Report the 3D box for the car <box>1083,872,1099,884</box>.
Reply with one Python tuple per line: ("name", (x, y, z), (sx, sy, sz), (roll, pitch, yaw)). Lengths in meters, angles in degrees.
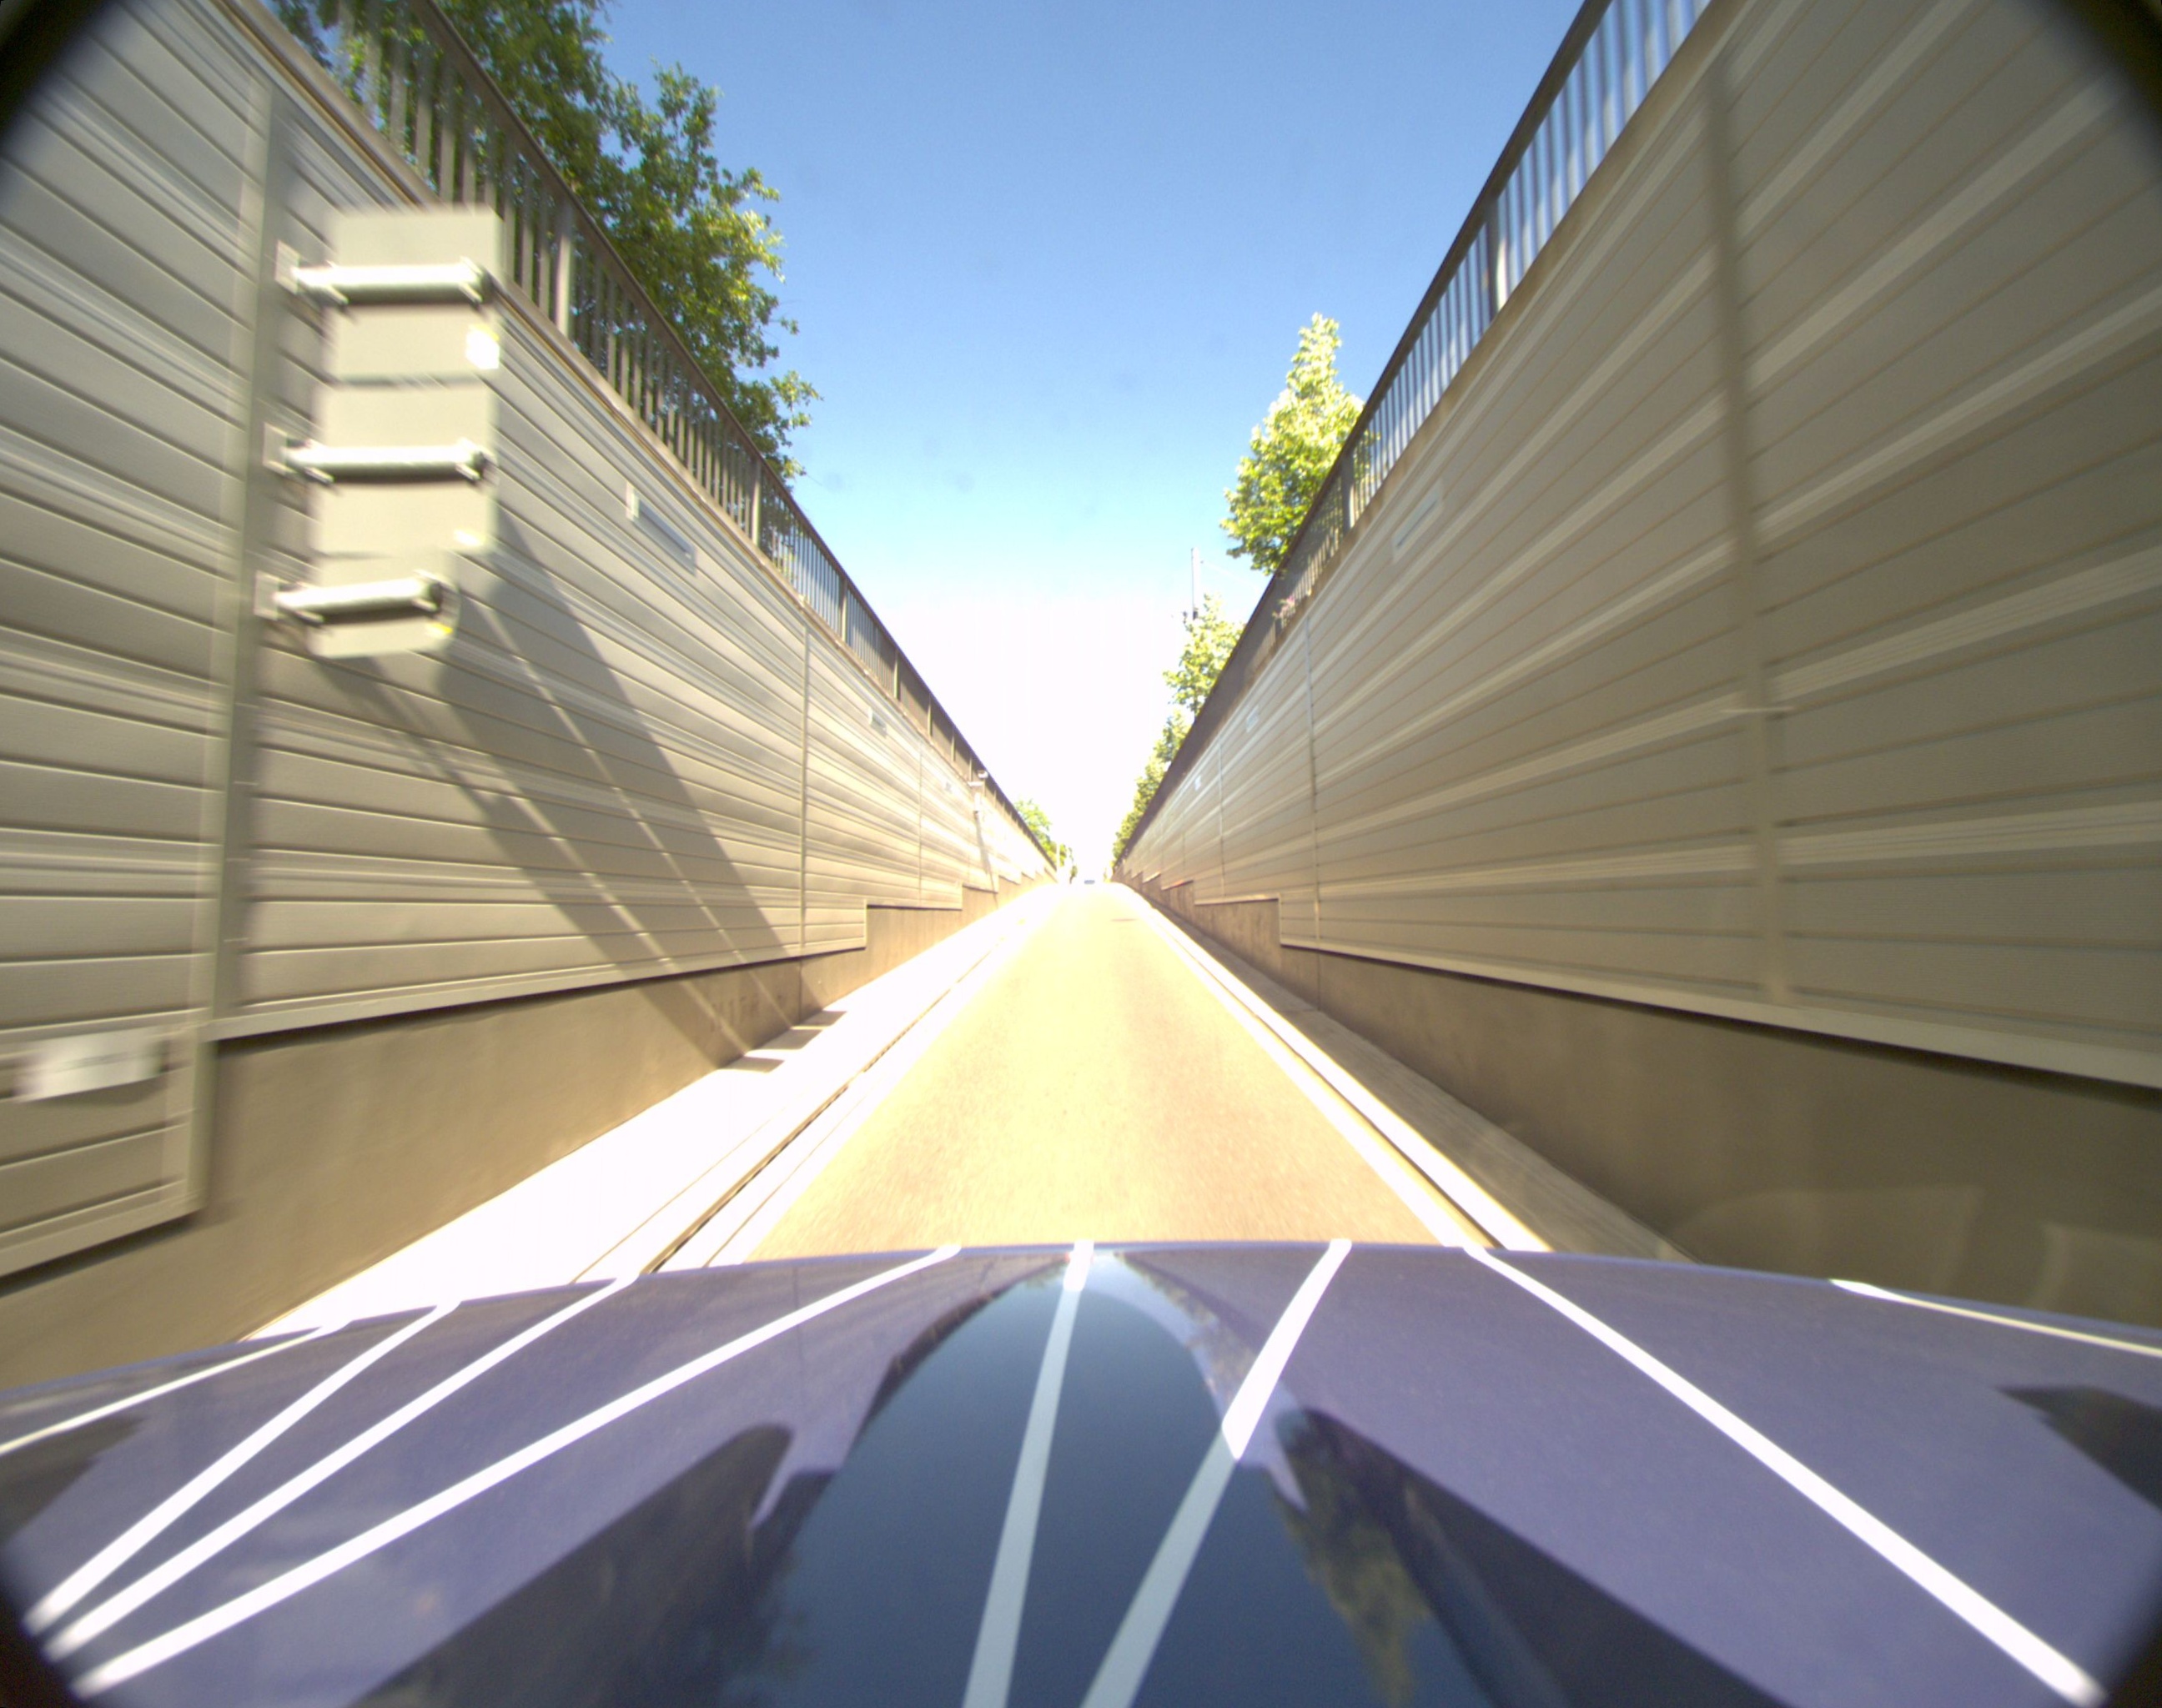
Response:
("car", (1.295, 3.068, 96.760), (1.829, 1.327, 4.003), (-2, -4, 1))
